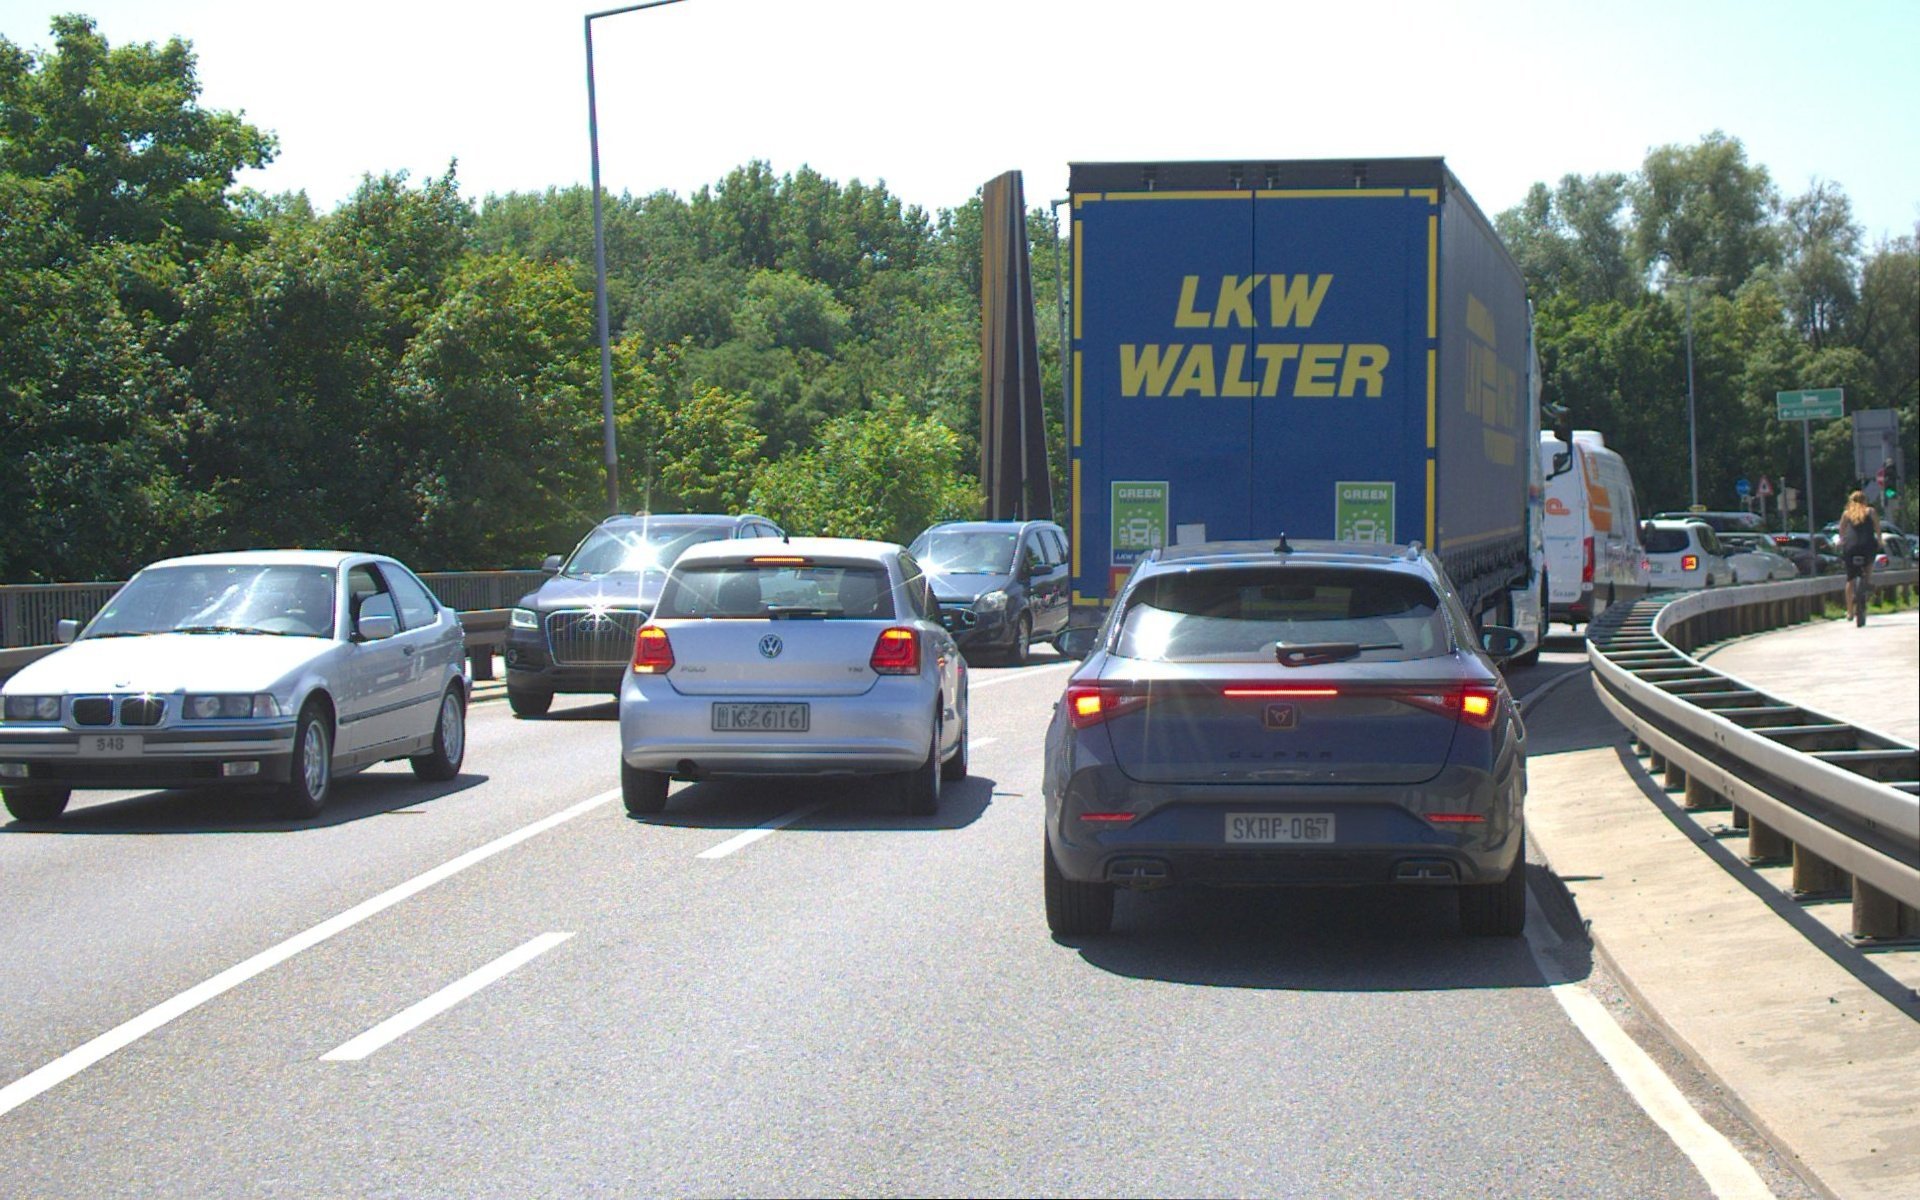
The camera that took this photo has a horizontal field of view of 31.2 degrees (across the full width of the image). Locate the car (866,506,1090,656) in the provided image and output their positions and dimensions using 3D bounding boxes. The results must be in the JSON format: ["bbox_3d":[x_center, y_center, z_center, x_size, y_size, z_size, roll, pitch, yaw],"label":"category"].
[{"bbox_3d":[0.269,-0.262,39.901,1.707,1.620,4.250,1,1,13],"label":"car"}]

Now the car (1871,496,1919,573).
[{"bbox_3d":[22.374,-1.496,79.309,1.688,1.754,3.994,1,1,29],"label":"car"}]

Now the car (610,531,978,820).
[{"bbox_3d":[-0.830,0.338,19.308,1.677,1.406,3.975,0,2,3],"label":"car"}]

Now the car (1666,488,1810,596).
[{"bbox_3d":[13.475,-1.034,59.415,1.723,1.796,3.995,1,2,23],"label":"car"}]

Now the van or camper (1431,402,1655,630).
[{"bbox_3d":[7.845,-1.124,45.739,2.156,2.806,6.382,0,2,17],"label":"van or camper"}]

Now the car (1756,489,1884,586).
[{"bbox_3d":[16.820,-1.241,67.103,1.723,1.837,3.995,1,2,24],"label":"car"}]

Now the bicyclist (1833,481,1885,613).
[{"bbox_3d":[11.674,-0.695,44.631,0.578,1.677,0.729,-3,1,15],"label":"bicyclist"}]

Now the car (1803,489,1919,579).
[{"bbox_3d":[19.138,-1.417,72.930,1.723,1.837,3.995,1,2,24],"label":"car"}]

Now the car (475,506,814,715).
[{"bbox_3d":[-2.581,0.034,29.215,1.802,1.635,4.299,0,1,10],"label":"car"}]

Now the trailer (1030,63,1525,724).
[{"bbox_3d":[3.121,-1.548,29.315,2.906,4.403,12.428,1,2,11],"label":"trailer"}]

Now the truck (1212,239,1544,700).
[{"bbox_3d":[4.561,-1.347,36.380,2.906,4.403,6.552,1,2,12],"label":"truck"}]

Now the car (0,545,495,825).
[{"bbox_3d":[-3.931,0.399,19.144,1.697,1.371,3.999,-1,1,7],"label":"car"}]

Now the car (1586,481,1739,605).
[{"bbox_3d":[10.896,-0.924,53.154,1.722,1.837,3.996,0,2,20],"label":"car"}]

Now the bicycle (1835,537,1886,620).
[{"bbox_3d":[11.716,-0.290,44.720,0.582,1.032,1.484,-3,1,15],"label":"bicycle"}]

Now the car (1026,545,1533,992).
[{"bbox_3d":[1.234,0.526,13.402,1.677,1.451,3.958,0,1,5],"label":"car"}]
